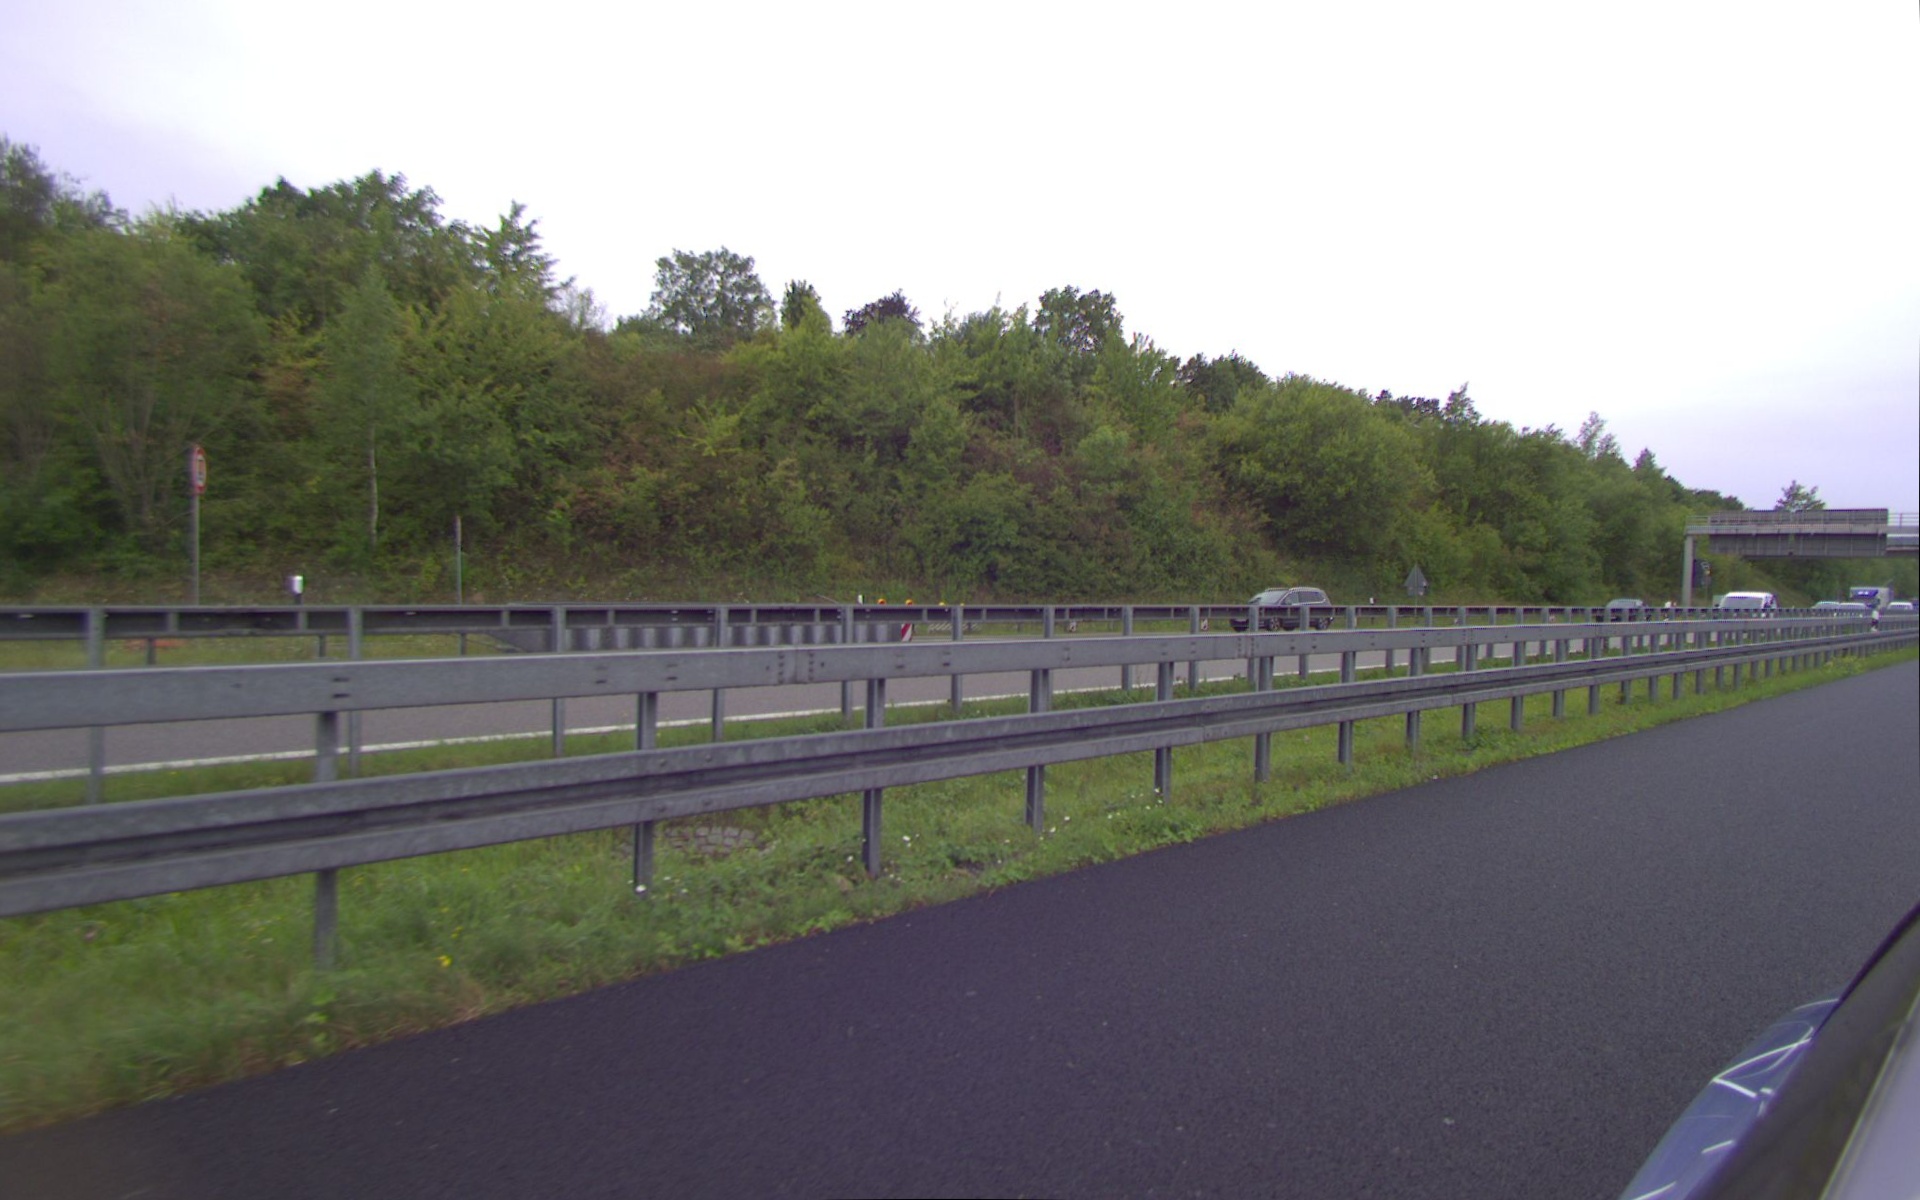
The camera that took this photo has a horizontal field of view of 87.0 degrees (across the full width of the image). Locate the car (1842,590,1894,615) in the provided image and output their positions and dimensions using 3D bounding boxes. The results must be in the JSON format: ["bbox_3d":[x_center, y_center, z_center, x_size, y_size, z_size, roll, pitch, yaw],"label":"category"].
[{"bbox_3d":[59.513,0.154,66.331,4.614,1.567,2.011,0,1,-41],"label":"car"}]

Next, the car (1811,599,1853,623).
[{"bbox_3d":[71.779,0.892,83.295,4.201,1.837,2.012,0,1,-41],"label":"car"}]

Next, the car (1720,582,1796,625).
[{"bbox_3d":[35.972,0.118,45.587,4.567,1.827,1.863,0,1,-41],"label":"car"}]

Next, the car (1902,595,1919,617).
[{"bbox_3d":[85.234,0.523,89.727,4.201,1.837,2.012,0,1,-41],"label":"car"}]

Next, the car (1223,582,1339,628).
[{"bbox_3d":[11.991,0.151,37.735,4.156,1.602,1.868,0,1,-31],"label":"car"}]

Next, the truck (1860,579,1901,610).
[{"bbox_3d":[104.236,-0.643,114.550,9.129,3.460,2.904,0,1,-44],"label":"truck"}]
